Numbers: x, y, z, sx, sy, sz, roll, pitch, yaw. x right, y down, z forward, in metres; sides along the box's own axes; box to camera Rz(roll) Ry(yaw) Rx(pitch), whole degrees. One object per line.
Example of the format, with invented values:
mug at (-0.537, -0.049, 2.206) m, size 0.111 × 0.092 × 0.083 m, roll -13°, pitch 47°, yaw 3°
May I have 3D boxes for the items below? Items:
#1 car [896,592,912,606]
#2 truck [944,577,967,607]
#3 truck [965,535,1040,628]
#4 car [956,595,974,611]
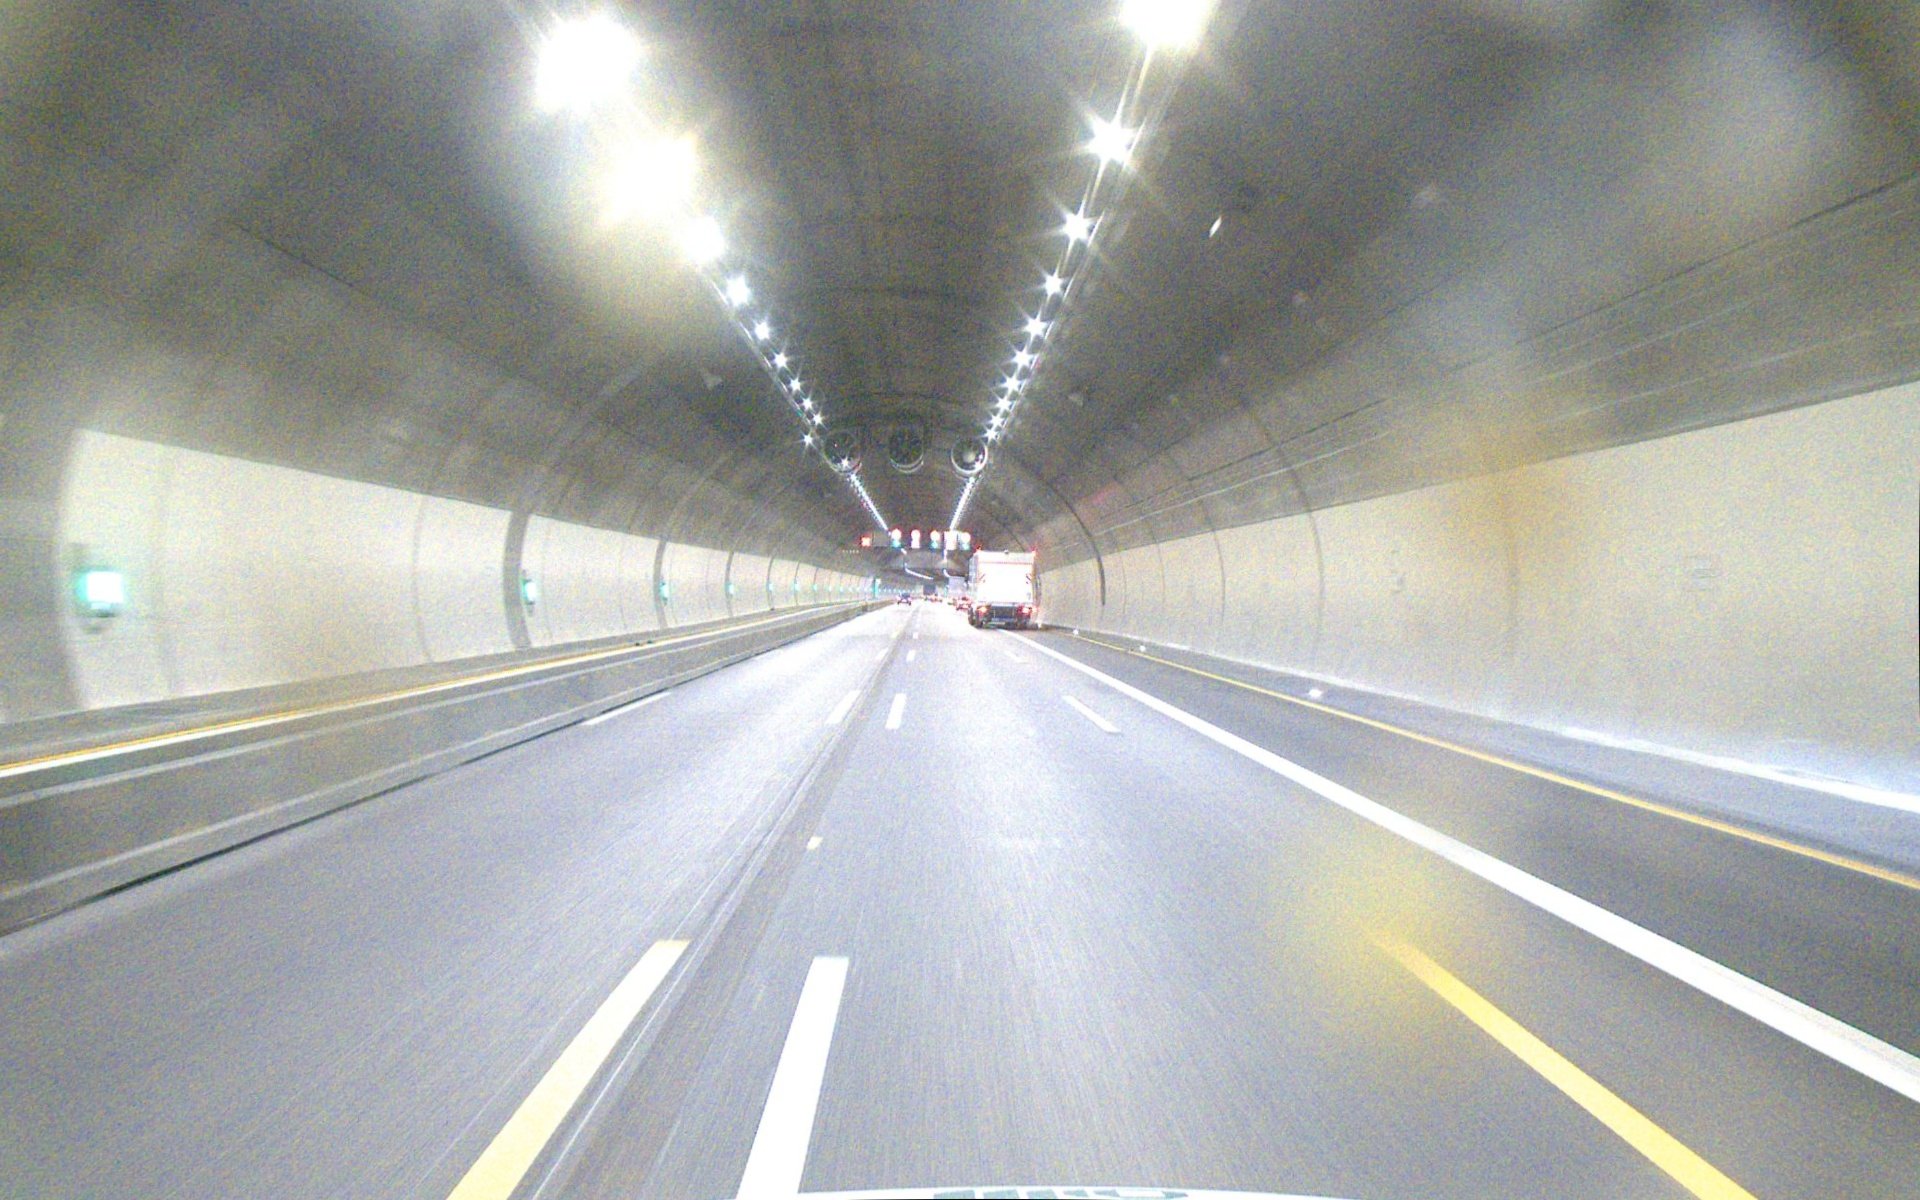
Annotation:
car at (-6.337, -0.176, 188.433) m, size 1.723 × 1.486 × 4.118 m, roll 2°, pitch 1°, yaw -1°
truck at (-0.588, -1.097, 238.975) m, size 3.003 × 3.986 × 10.367 m, roll 2°, pitch -1°, yaw 1°
truck at (1.892, -0.749, 77.744) m, size 3.029 × 3.986 × 10.365 m, roll 2°, pitch -1°, yaw -1°
car at (0.522, 0.292, 166.783) m, size 1.704 × 1.486 × 3.961 m, roll 2°, pitch 1°, yaw 1°
